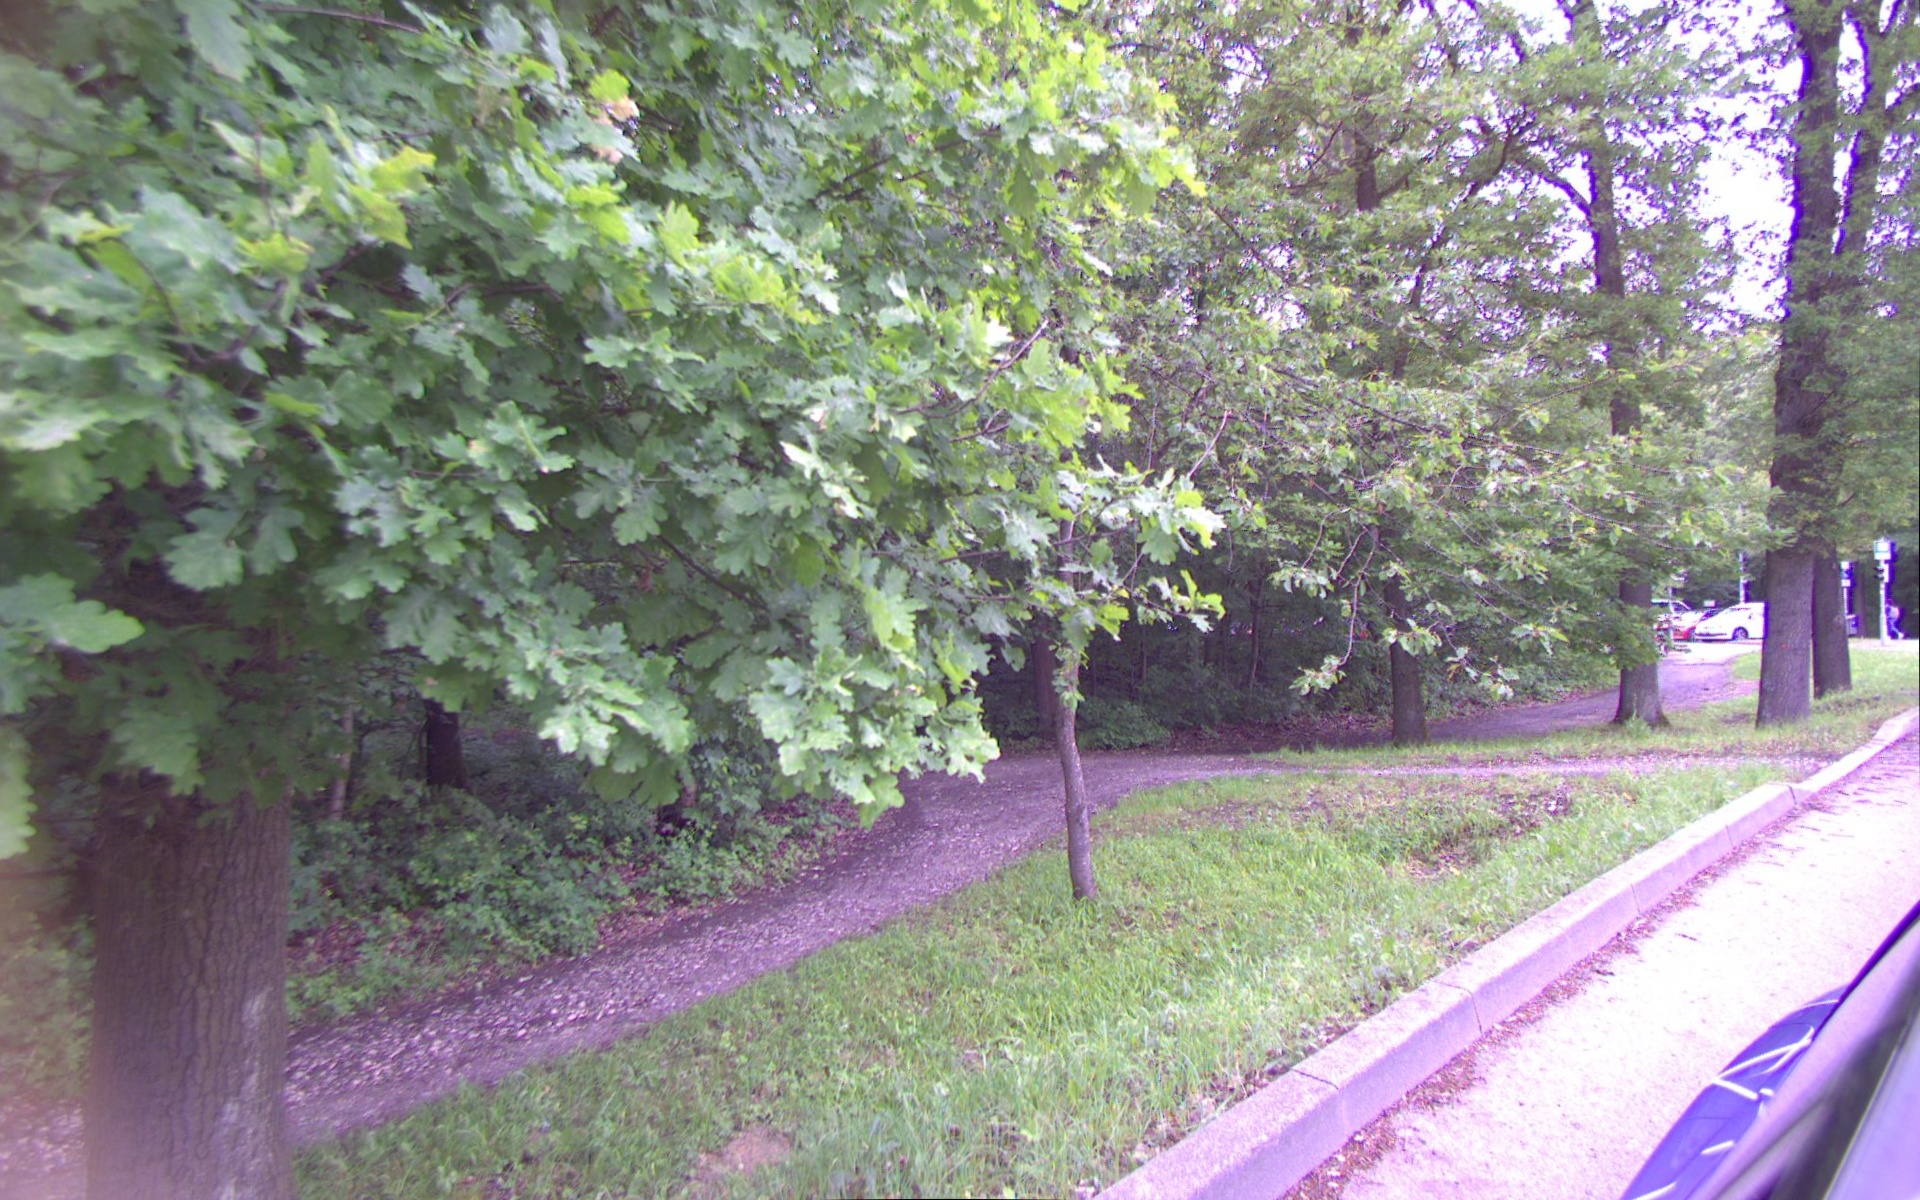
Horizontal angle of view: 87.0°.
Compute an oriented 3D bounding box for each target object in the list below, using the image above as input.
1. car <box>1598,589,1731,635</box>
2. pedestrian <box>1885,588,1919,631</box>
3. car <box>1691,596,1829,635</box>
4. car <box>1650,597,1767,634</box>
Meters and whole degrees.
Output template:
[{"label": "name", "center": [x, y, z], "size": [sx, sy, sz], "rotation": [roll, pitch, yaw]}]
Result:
[{"label": "car", "center": [33.500, 0.584, 48.186], "size": [5.077, 1.982, 2.065], "rotation": [-2, -2, -10]}, {"label": "pedestrian", "center": [37.146, 0.369, 39.749], "size": [1.087, 1.697, 0.899], "rotation": [-1, 0, 36]}, {"label": "car", "center": [33.955, 0.673, 43.028], "size": [4.332, 1.572, 2.001], "rotation": [-1, -2, -6]}, {"label": "car", "center": [33.668, 0.714, 45.580], "size": [3.920, 1.572, 1.896], "rotation": [-1, -2, -6]}]
